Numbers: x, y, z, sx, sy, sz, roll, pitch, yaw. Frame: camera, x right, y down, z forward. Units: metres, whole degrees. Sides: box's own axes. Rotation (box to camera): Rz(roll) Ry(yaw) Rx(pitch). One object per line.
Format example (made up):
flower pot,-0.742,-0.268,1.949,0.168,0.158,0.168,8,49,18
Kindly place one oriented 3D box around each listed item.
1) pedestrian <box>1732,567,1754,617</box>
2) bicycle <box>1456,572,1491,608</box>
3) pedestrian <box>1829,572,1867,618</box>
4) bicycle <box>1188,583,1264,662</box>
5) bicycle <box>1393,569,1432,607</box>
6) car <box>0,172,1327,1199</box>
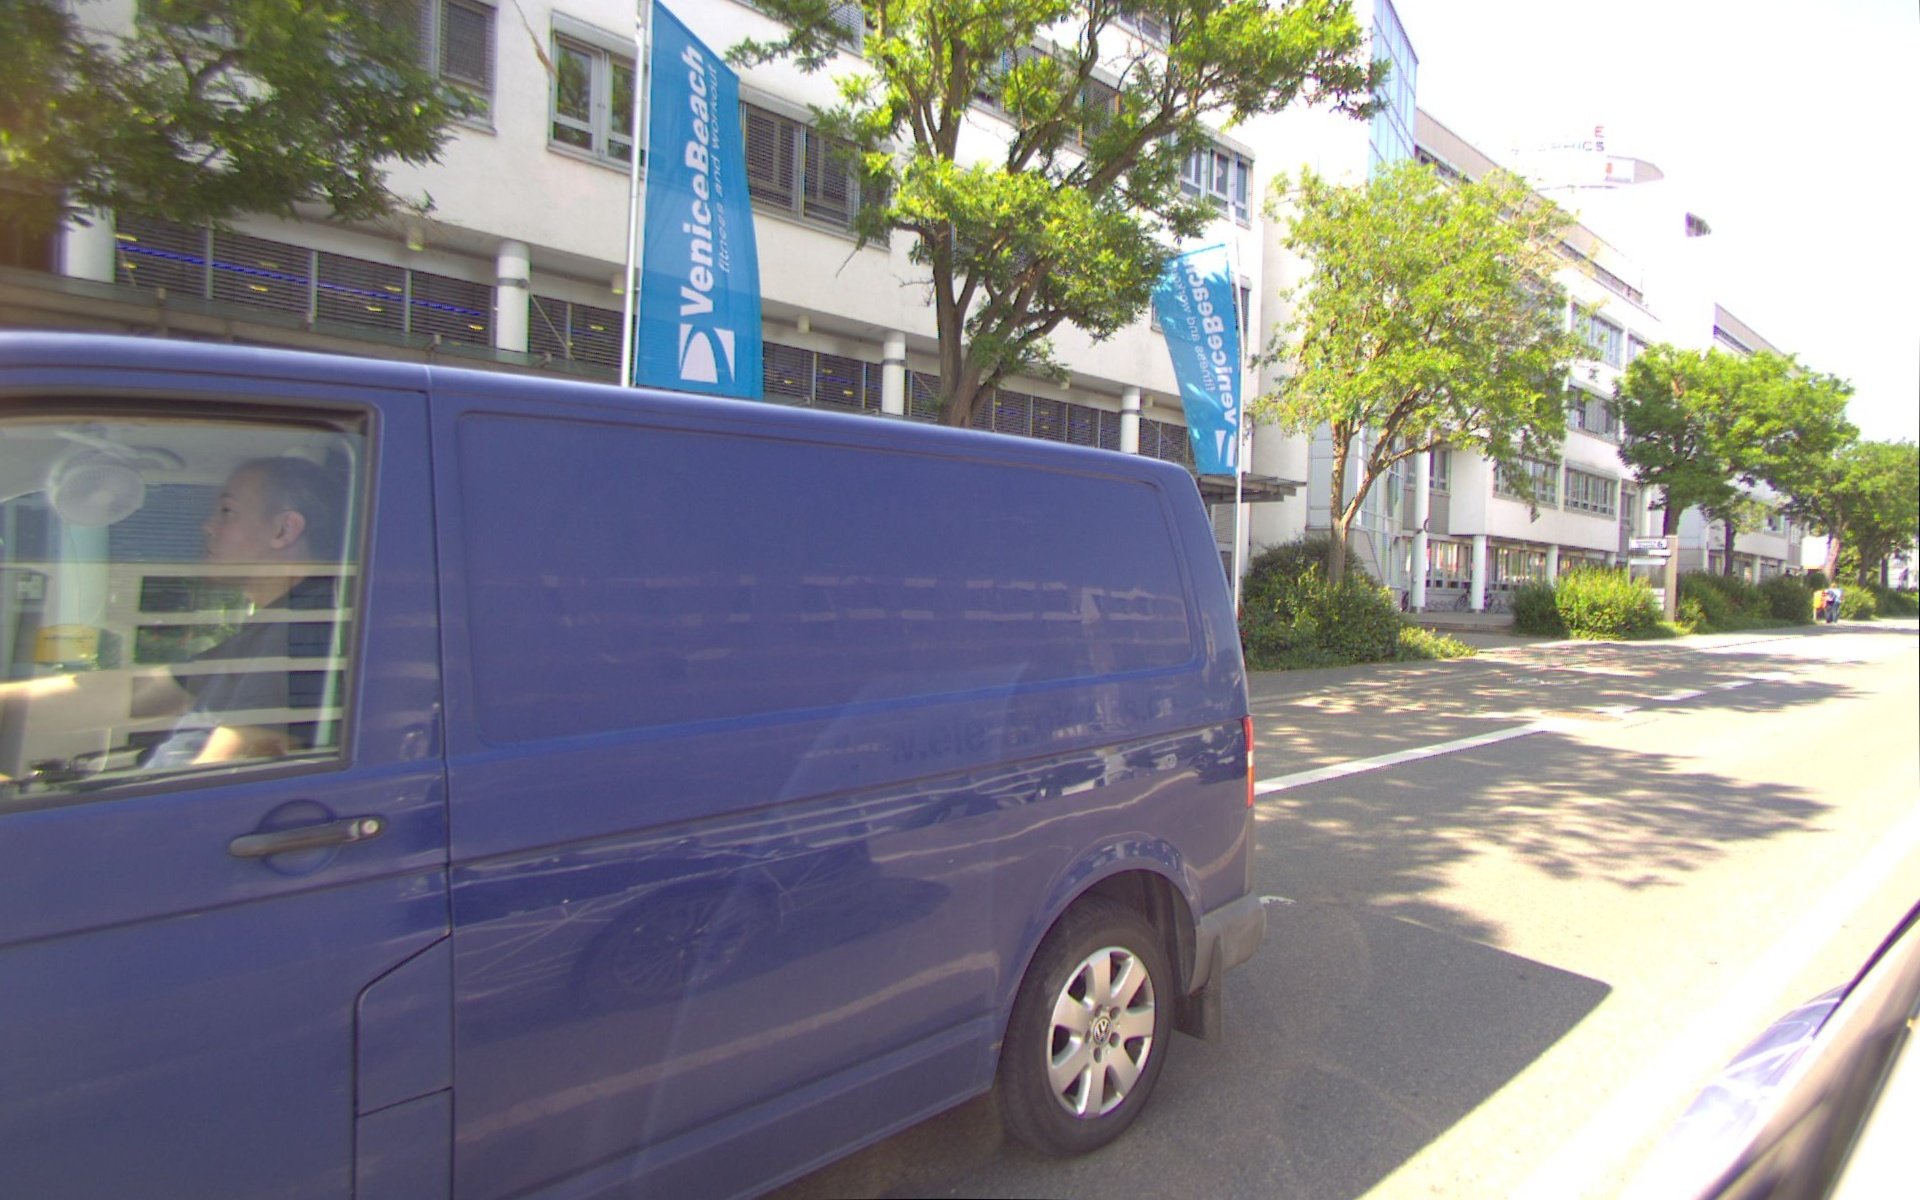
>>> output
pedestrian,41.344,-0.426,53.432,0.704,2.581,0.716,0,1,-41
bicycle,20.018,-0.390,39.466,1.851,1.371,0.506,0,1,-40
pedestrian,38.989,-0.228,44.432,1.266,1.909,0.943,0,4,-39
bicycle,4.786,0.380,18.129,0.504,1.345,1.856,2,1,42
bicycle,16.512,-0.433,36.933,1.851,1.371,0.506,0,1,-40
car,-1.328,0.421,2.440,4.804,1.972,1.998,-1,2,-40
